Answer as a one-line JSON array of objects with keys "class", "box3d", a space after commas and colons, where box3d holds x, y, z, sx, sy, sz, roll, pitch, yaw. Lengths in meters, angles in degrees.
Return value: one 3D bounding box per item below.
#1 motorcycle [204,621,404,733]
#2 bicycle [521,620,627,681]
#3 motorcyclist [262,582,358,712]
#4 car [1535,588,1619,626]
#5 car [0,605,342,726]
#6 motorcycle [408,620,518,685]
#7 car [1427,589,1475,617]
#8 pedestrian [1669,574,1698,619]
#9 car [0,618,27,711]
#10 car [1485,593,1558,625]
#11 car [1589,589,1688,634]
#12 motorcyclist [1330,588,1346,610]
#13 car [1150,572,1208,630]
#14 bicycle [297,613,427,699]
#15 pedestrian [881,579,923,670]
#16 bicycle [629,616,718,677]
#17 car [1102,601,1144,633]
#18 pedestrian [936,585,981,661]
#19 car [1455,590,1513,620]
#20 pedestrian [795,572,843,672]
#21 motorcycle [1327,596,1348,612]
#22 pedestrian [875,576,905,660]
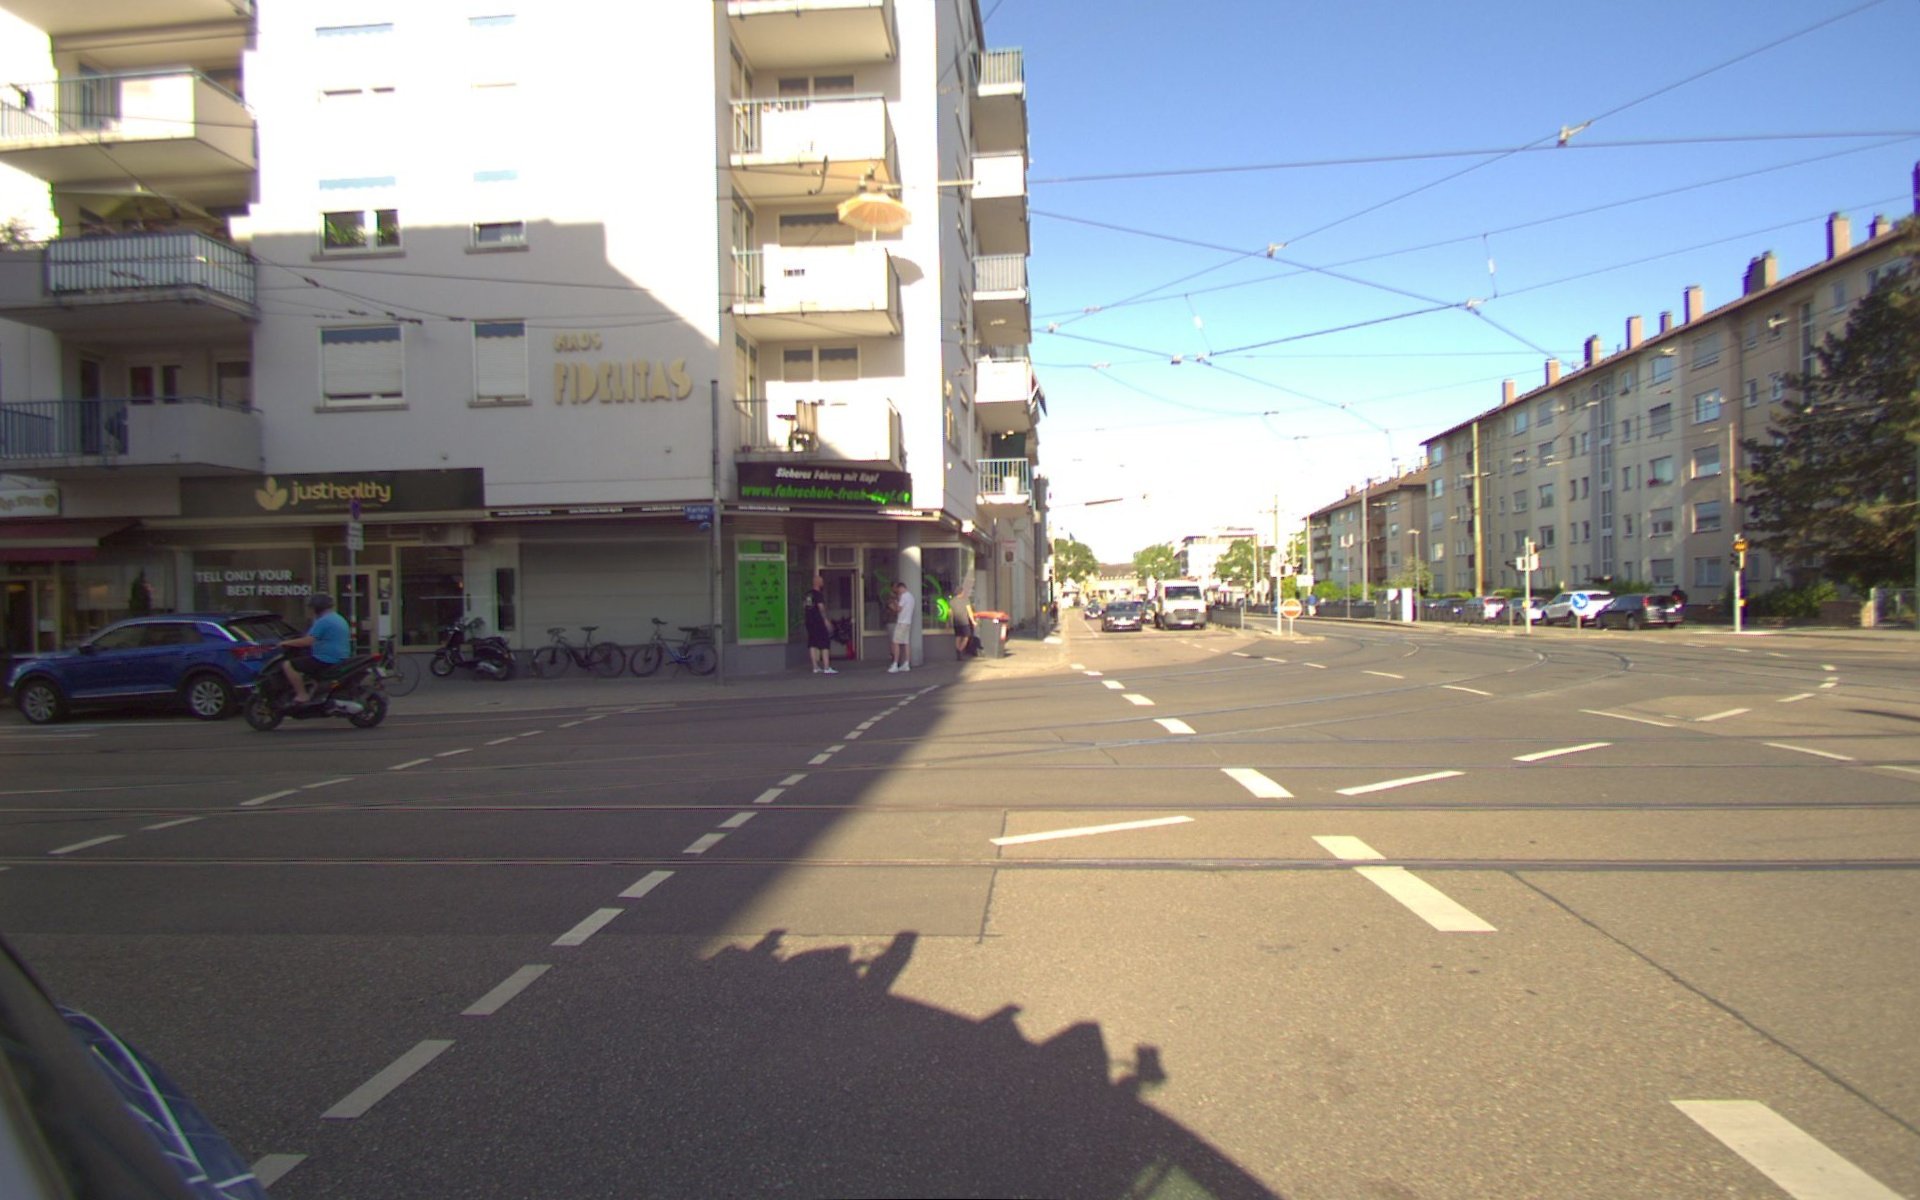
[{"class": "motorcycle", "box3d": [-7.923, 0.912, 12.284, 1.938, 1.229, 0.714, -2, 0, 0]}, {"class": "bicycle", "box3d": [-7.316, 0.954, 19.204, 1.773, 1.096, 0.608, -1, 2, 4]}, {"class": "motorcyclist", "box3d": [-7.883, 0.558, 12.299, 0.675, 1.508, 0.695, -2, 0, 0]}, {"class": "car", "box3d": [29.175, 0.316, 47.998, 1.750, 1.610, 4.029, -1, 2, 4]}, {"class": "car", "box3d": [-12.009, 0.957, 15.355, 4.181, 1.514, 1.774, -2, 2, 2]}, {"class": "motorcycle", "box3d": [-9.319, 0.974, 18.996, 1.773, 1.142, 0.608, -1, 2, 4]}, {"class": "car", "box3d": [30.713, 0.168, 63.390, 1.541, 1.537, 3.641, -1, 2, 5]}, {"class": "pedestrian", "box3d": [31.093, -0.147, 43.504, 0.692, 1.900, 0.779, -1, 2, 9]}, {"class": "car", "box3d": [-17.715, 1.098, 16.051, 4.389, 1.486, 1.772, -1, 2, 5]}, {"class": "car", "box3d": [29.588, 0.440, 53.489, 1.810, 1.489, 4.029, -1, 2, 4]}, {"class": "car", "box3d": [28.535, 0.454, 42.696, 1.850, 1.640, 4.063, -1, 2, 8]}, {"class": "motorcyclist", "box3d": [27.206, -0.085, 72.838, 0.846, 1.499, 0.729, -1, 2, 3]}, {"class": "car", "box3d": [10.320, -0.030, 48.093, 2.315, 2.536, 4.843, -1, 2, 8]}, {"class": "bicycle", "box3d": [-9.726, 0.902, 16.493, 1.773, 1.324, 0.608, -1, 2, 4]}, {"class": "pedestrian", "box3d": [-1.165, 0.485, 20.490, 0.655, 1.806, 0.735, -2, 0, 11]}, {"class": "bicycle", "box3d": [-5.444, 0.879, 19.283, 1.520, 1.114, 0.552, -1, 2, 7]}, {"class": "car", "box3d": [7.729, 0.786, 48.227, 1.862, 1.424, 3.919, -1, -1, 8]}, {"class": "pedestrian", "box3d": [-0.037, 0.523, 22.957, 0.697, 1.664, 0.752, 1, -2, 28]}, {"class": "car", "box3d": [30.403, 0.266, 58.851, 1.641, 1.569, 3.783, -1, 2, 5]}, {"class": "pedestrian", "box3d": [-2.767, 0.424, 19.907, 0.734, 1.914, 0.570, 1, 1, 22]}, {"class": "motorcycle", "box3d": [27.211, 0.309, 72.894, 0.846, 1.054, 1.941, -1, 2, 2]}, {"class": "pedestrian", "box3d": [-1.572, 0.394, 22.771, 0.590, 1.869, 0.519, -1, 2, 1]}]
